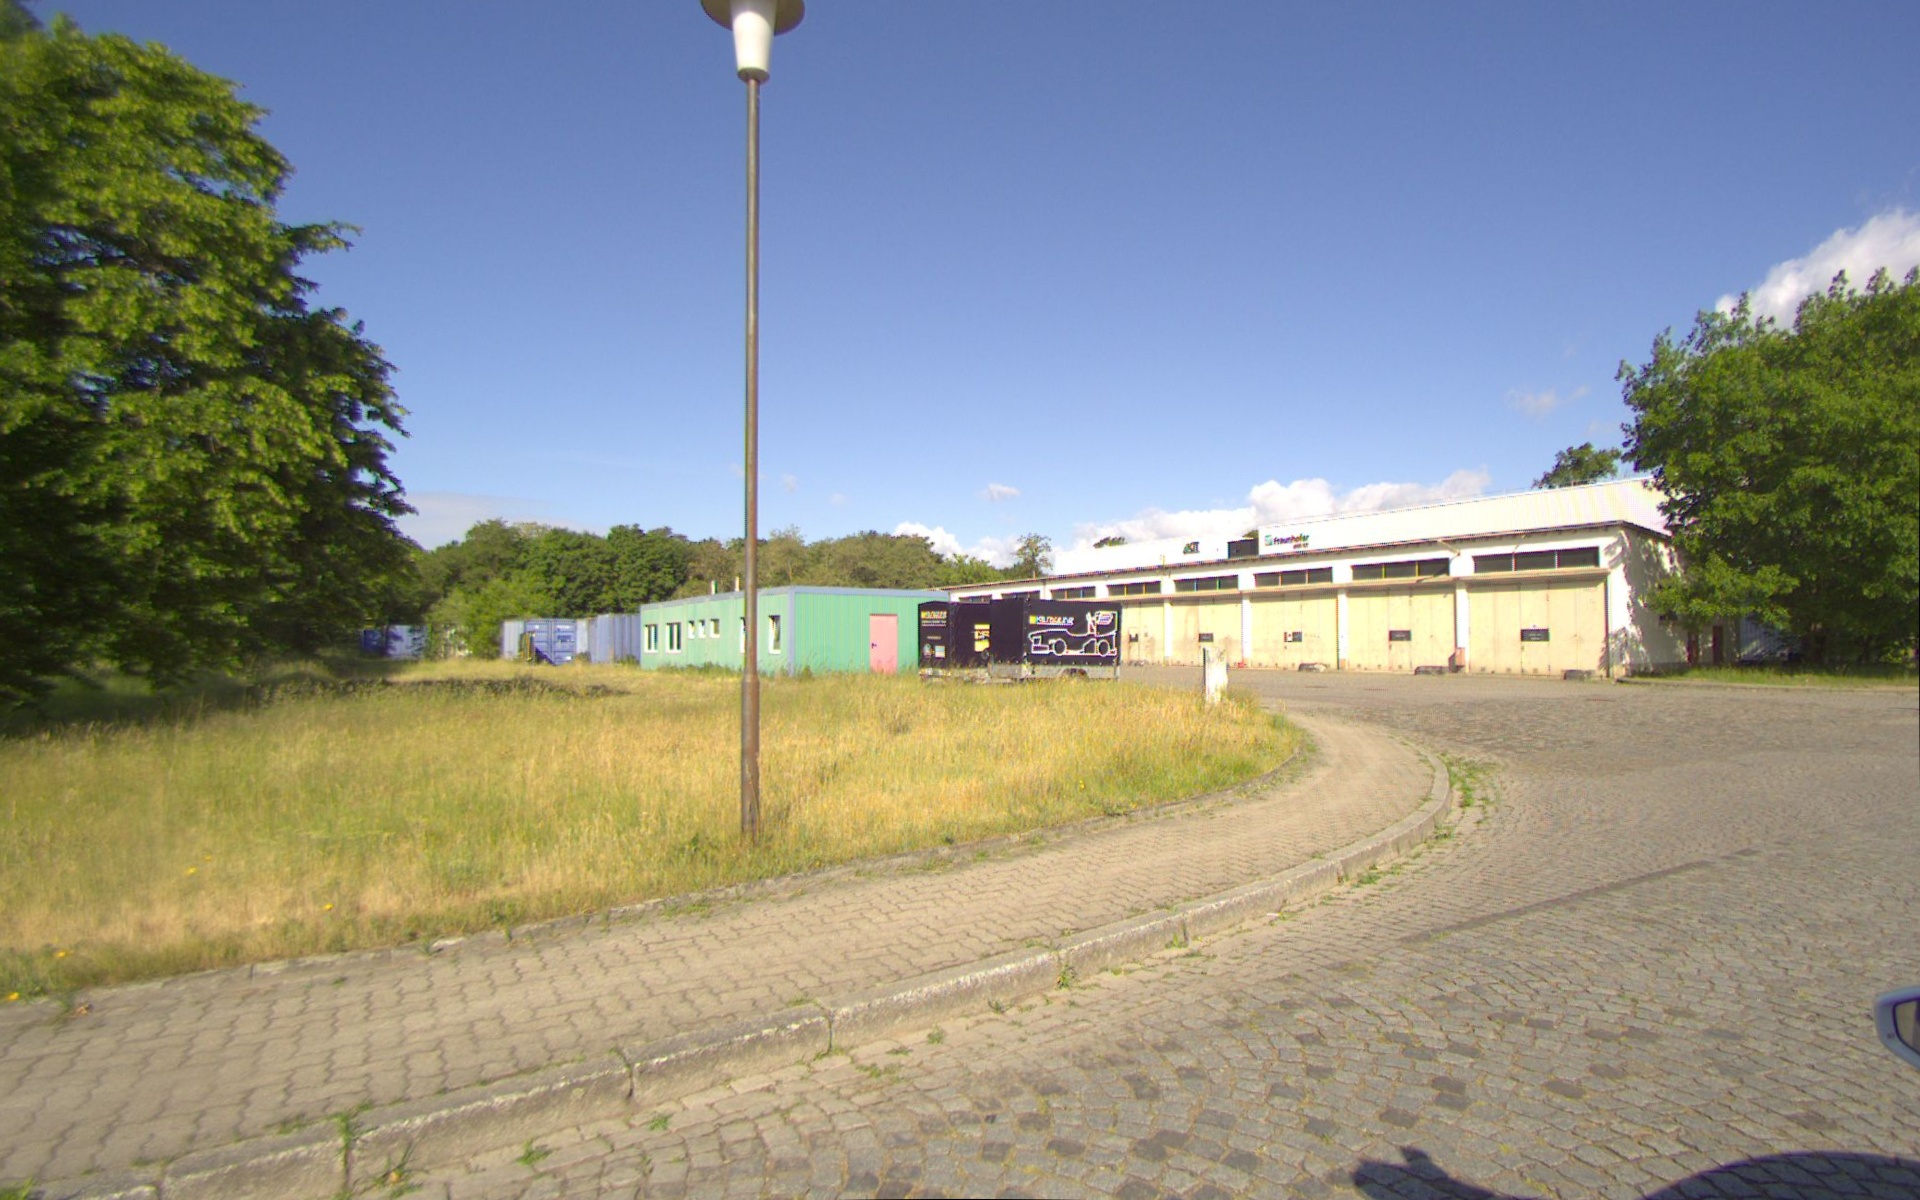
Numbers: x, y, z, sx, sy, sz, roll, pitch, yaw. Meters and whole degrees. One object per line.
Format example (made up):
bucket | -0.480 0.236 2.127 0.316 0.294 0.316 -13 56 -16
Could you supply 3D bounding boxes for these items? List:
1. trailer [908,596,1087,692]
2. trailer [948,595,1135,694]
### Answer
trailer | 1.106 1.251 27.645 4.811 2.422 1.923 3 -4 -37
trailer | 2.102 1.166 25.474 4.419 2.302 1.997 3 -4 -32
